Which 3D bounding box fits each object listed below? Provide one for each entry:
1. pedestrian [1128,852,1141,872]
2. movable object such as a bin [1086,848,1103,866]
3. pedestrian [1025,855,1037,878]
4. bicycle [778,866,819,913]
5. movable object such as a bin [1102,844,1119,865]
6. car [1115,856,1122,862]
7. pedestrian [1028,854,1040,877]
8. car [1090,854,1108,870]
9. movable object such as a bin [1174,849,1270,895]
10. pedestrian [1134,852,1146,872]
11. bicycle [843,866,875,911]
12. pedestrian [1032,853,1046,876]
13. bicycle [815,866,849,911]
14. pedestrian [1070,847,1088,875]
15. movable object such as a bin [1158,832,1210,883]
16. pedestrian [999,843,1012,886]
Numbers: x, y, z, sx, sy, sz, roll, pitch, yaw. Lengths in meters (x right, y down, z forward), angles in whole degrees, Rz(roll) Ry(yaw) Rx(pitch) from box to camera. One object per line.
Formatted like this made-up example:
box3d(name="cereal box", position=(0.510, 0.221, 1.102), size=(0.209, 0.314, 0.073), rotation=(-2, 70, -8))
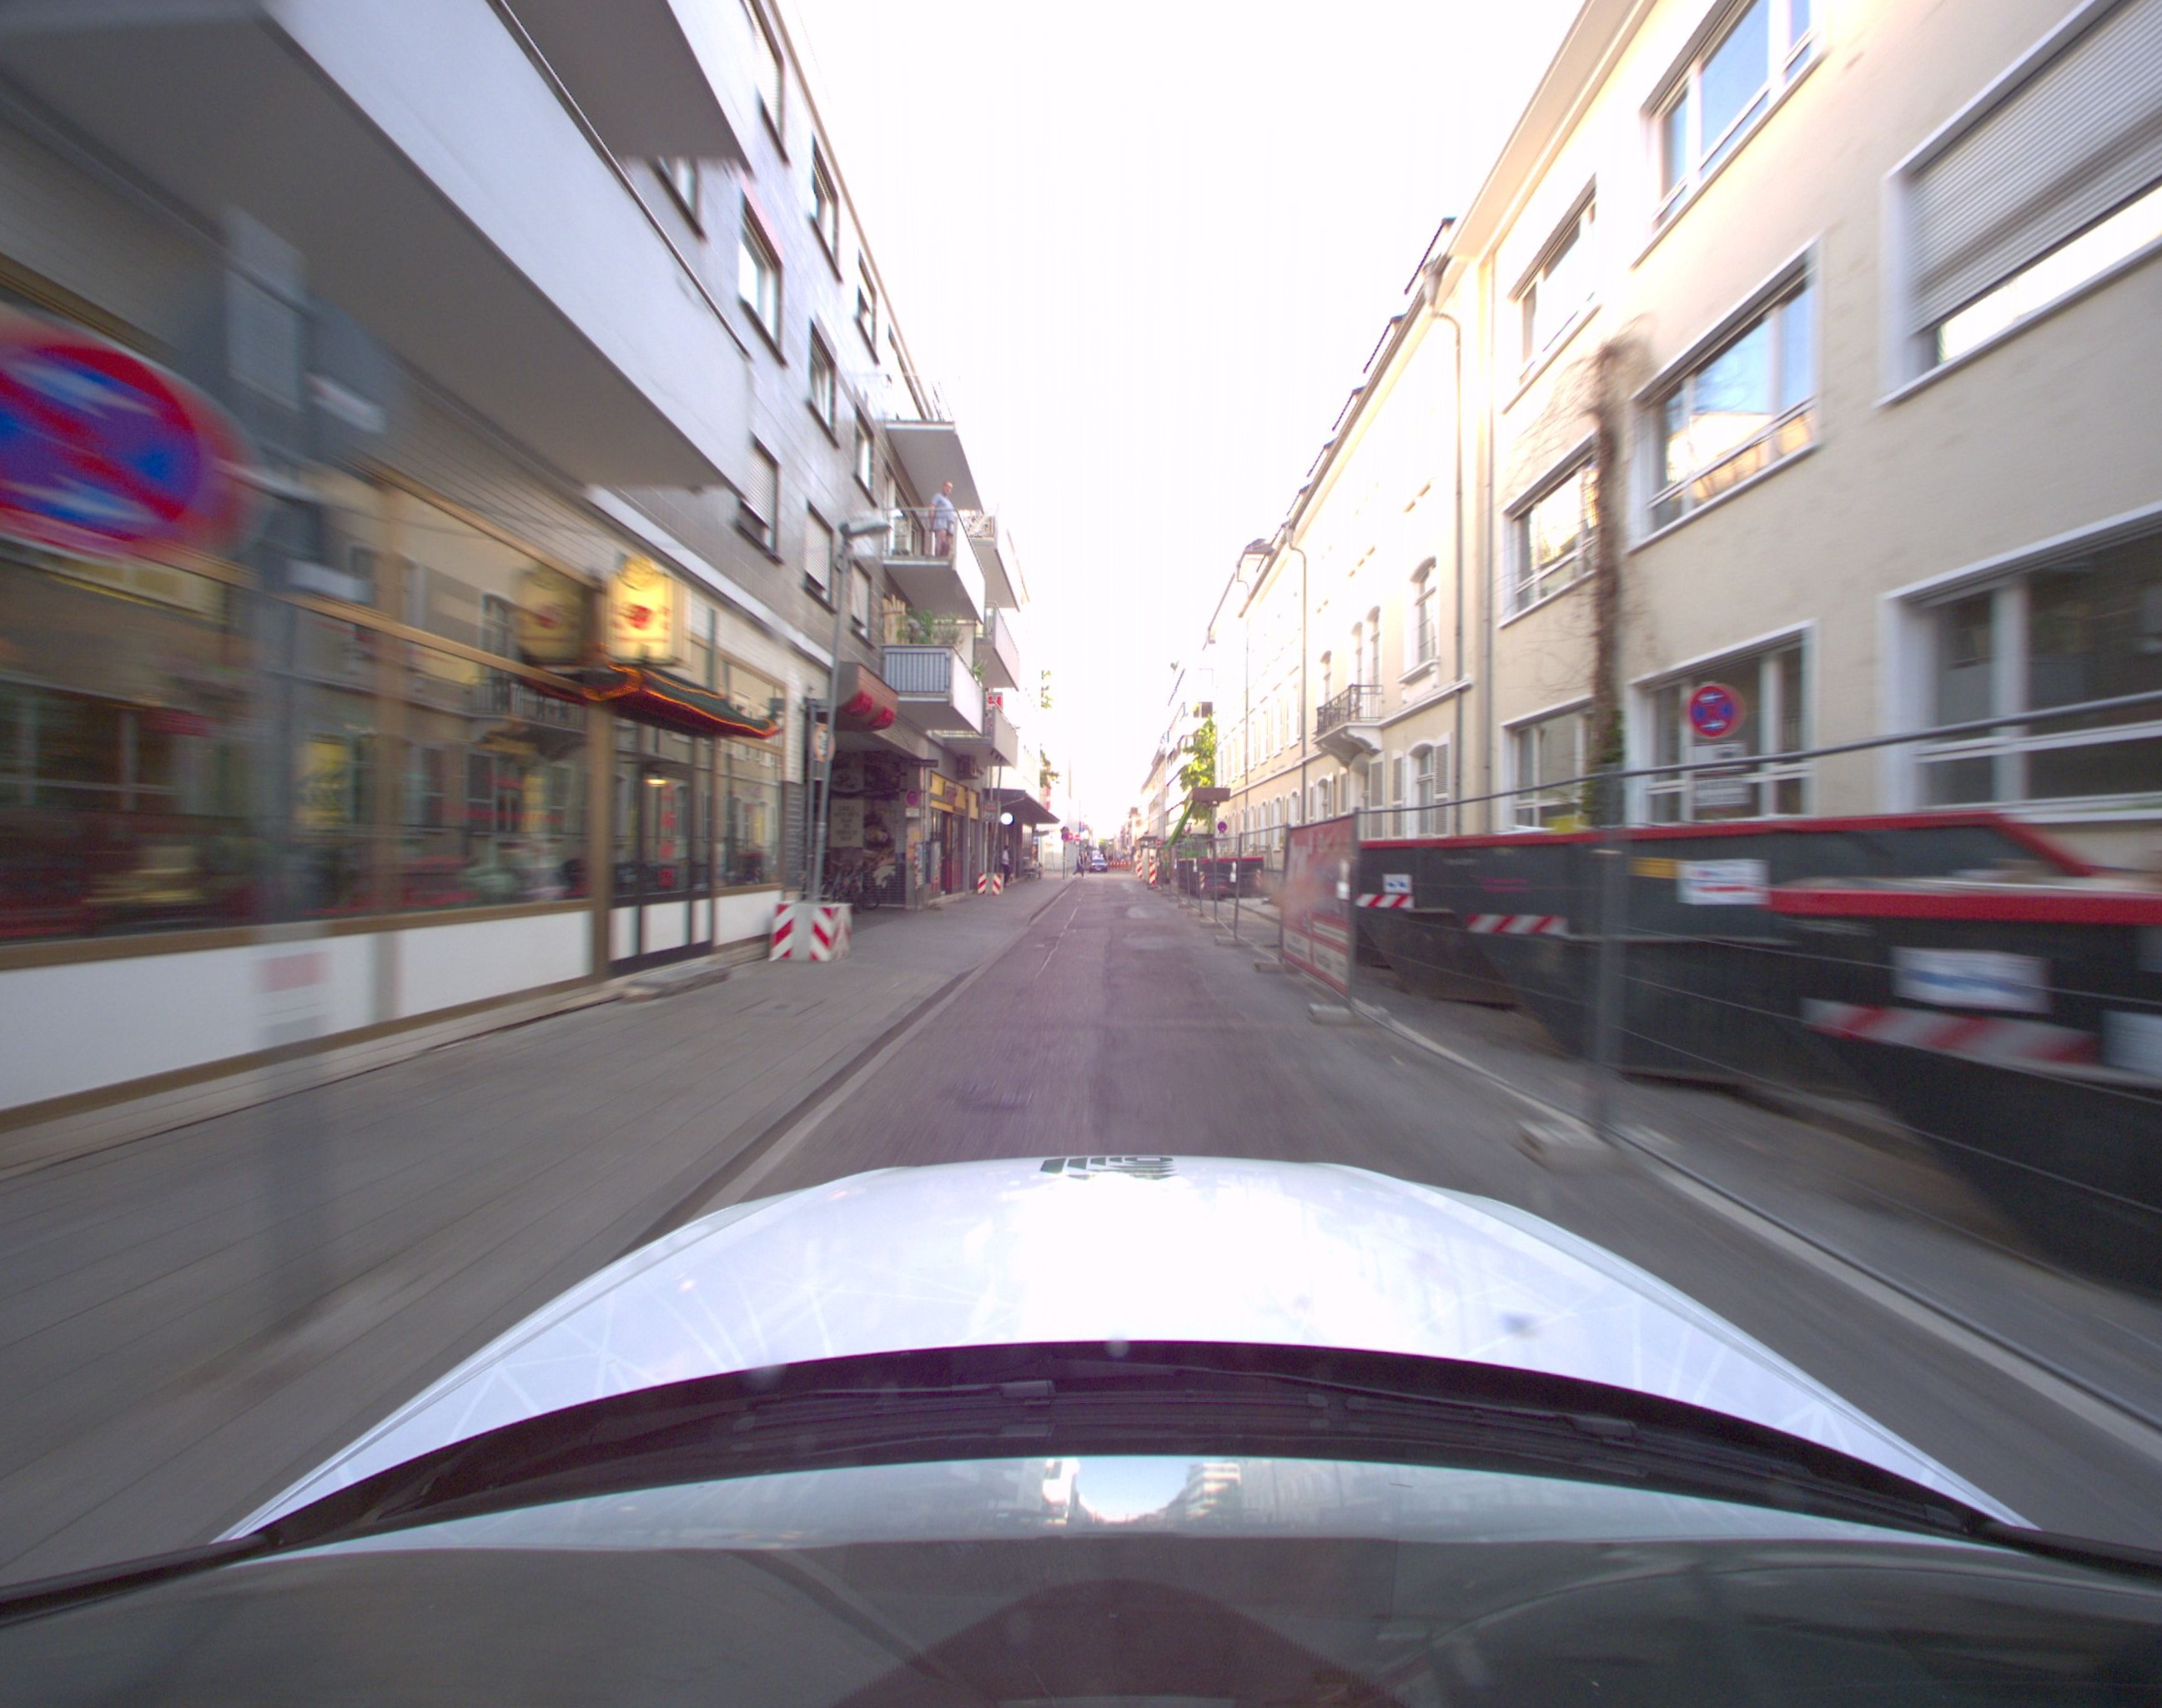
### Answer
box3d(name="pedestrian", position=(4.466, 0.670, 68.129), size=(0.614, 1.627, 0.863), rotation=(0, 0, -38))
box3d(name="movable object such as a bin", position=(1.614, 0.332, 96.887), size=(1.986, 2.013, 4.002), rotation=(0, 0, 2))
box3d(name="pedestrian", position=(-2.776, 0.699, 45.550), size=(0.571, 1.275, 0.714), rotation=(2, 0, 2))
box3d(name="bicycle", position=(-6.570, 0.801, 19.006), size=(0.376, 0.961, 1.795), rotation=(1, 1, -1))
box3d(name="movable object such as a bin", position=(3.853, 0.028, 106.999), size=(2.149, 2.664, 4.574), rotation=(0, 0, 1))
box3d(name="car", position=(10.115, 1.357, 220.935), size=(1.986, 1.776, 4.002), rotation=(0, 0, 2))
box3d(name="pedestrian", position=(-2.662, 0.648, 46.560), size=(0.571, 1.275, 0.714), rotation=(2, 0, 2))
box3d(name="car", position=(1.761, 0.815, 81.608), size=(1.625, 1.550, 3.140), rotation=(0, 0, -2))
box3d(name="movable object such as a bin", position=(5.601, 0.676, 33.608), size=(2.726, 1.638, 7.553), rotation=(1, 0, 1))
box3d(name="pedestrian", position=(4.976, 0.667, 68.519), size=(0.614, 1.627, 0.863), rotation=(0, 0, -38))
box3d(name="bicycle", position=(-5.209, 0.789, 19.180), size=(0.376, 0.961, 1.501), rotation=(1, 1, -1))
box3d(name="pedestrian", position=(-2.447, 0.606, 47.648), size=(0.699, 1.275, 0.714), rotation=(2, 0, 1))
box3d(name="bicycle", position=(-5.883, 0.795, 19.273), size=(0.376, 0.961, 1.501), rotation=(1, 1, -1))
box3d(name="pedestrian", position=(-0.129, 0.482, 54.185), size=(1.075, 1.835, 0.693), rotation=(0, 0, -20))
box3d(name="movable object such as a bin", position=(5.966, 0.217, 47.681), size=(2.595, 2.839, 4.452), rotation=(0, 0, 2))
box3d(name="pedestrian", position=(-3.250, 0.430, 35.146), size=(0.529, 1.834, 0.562), rotation=(0, 0, -5))
